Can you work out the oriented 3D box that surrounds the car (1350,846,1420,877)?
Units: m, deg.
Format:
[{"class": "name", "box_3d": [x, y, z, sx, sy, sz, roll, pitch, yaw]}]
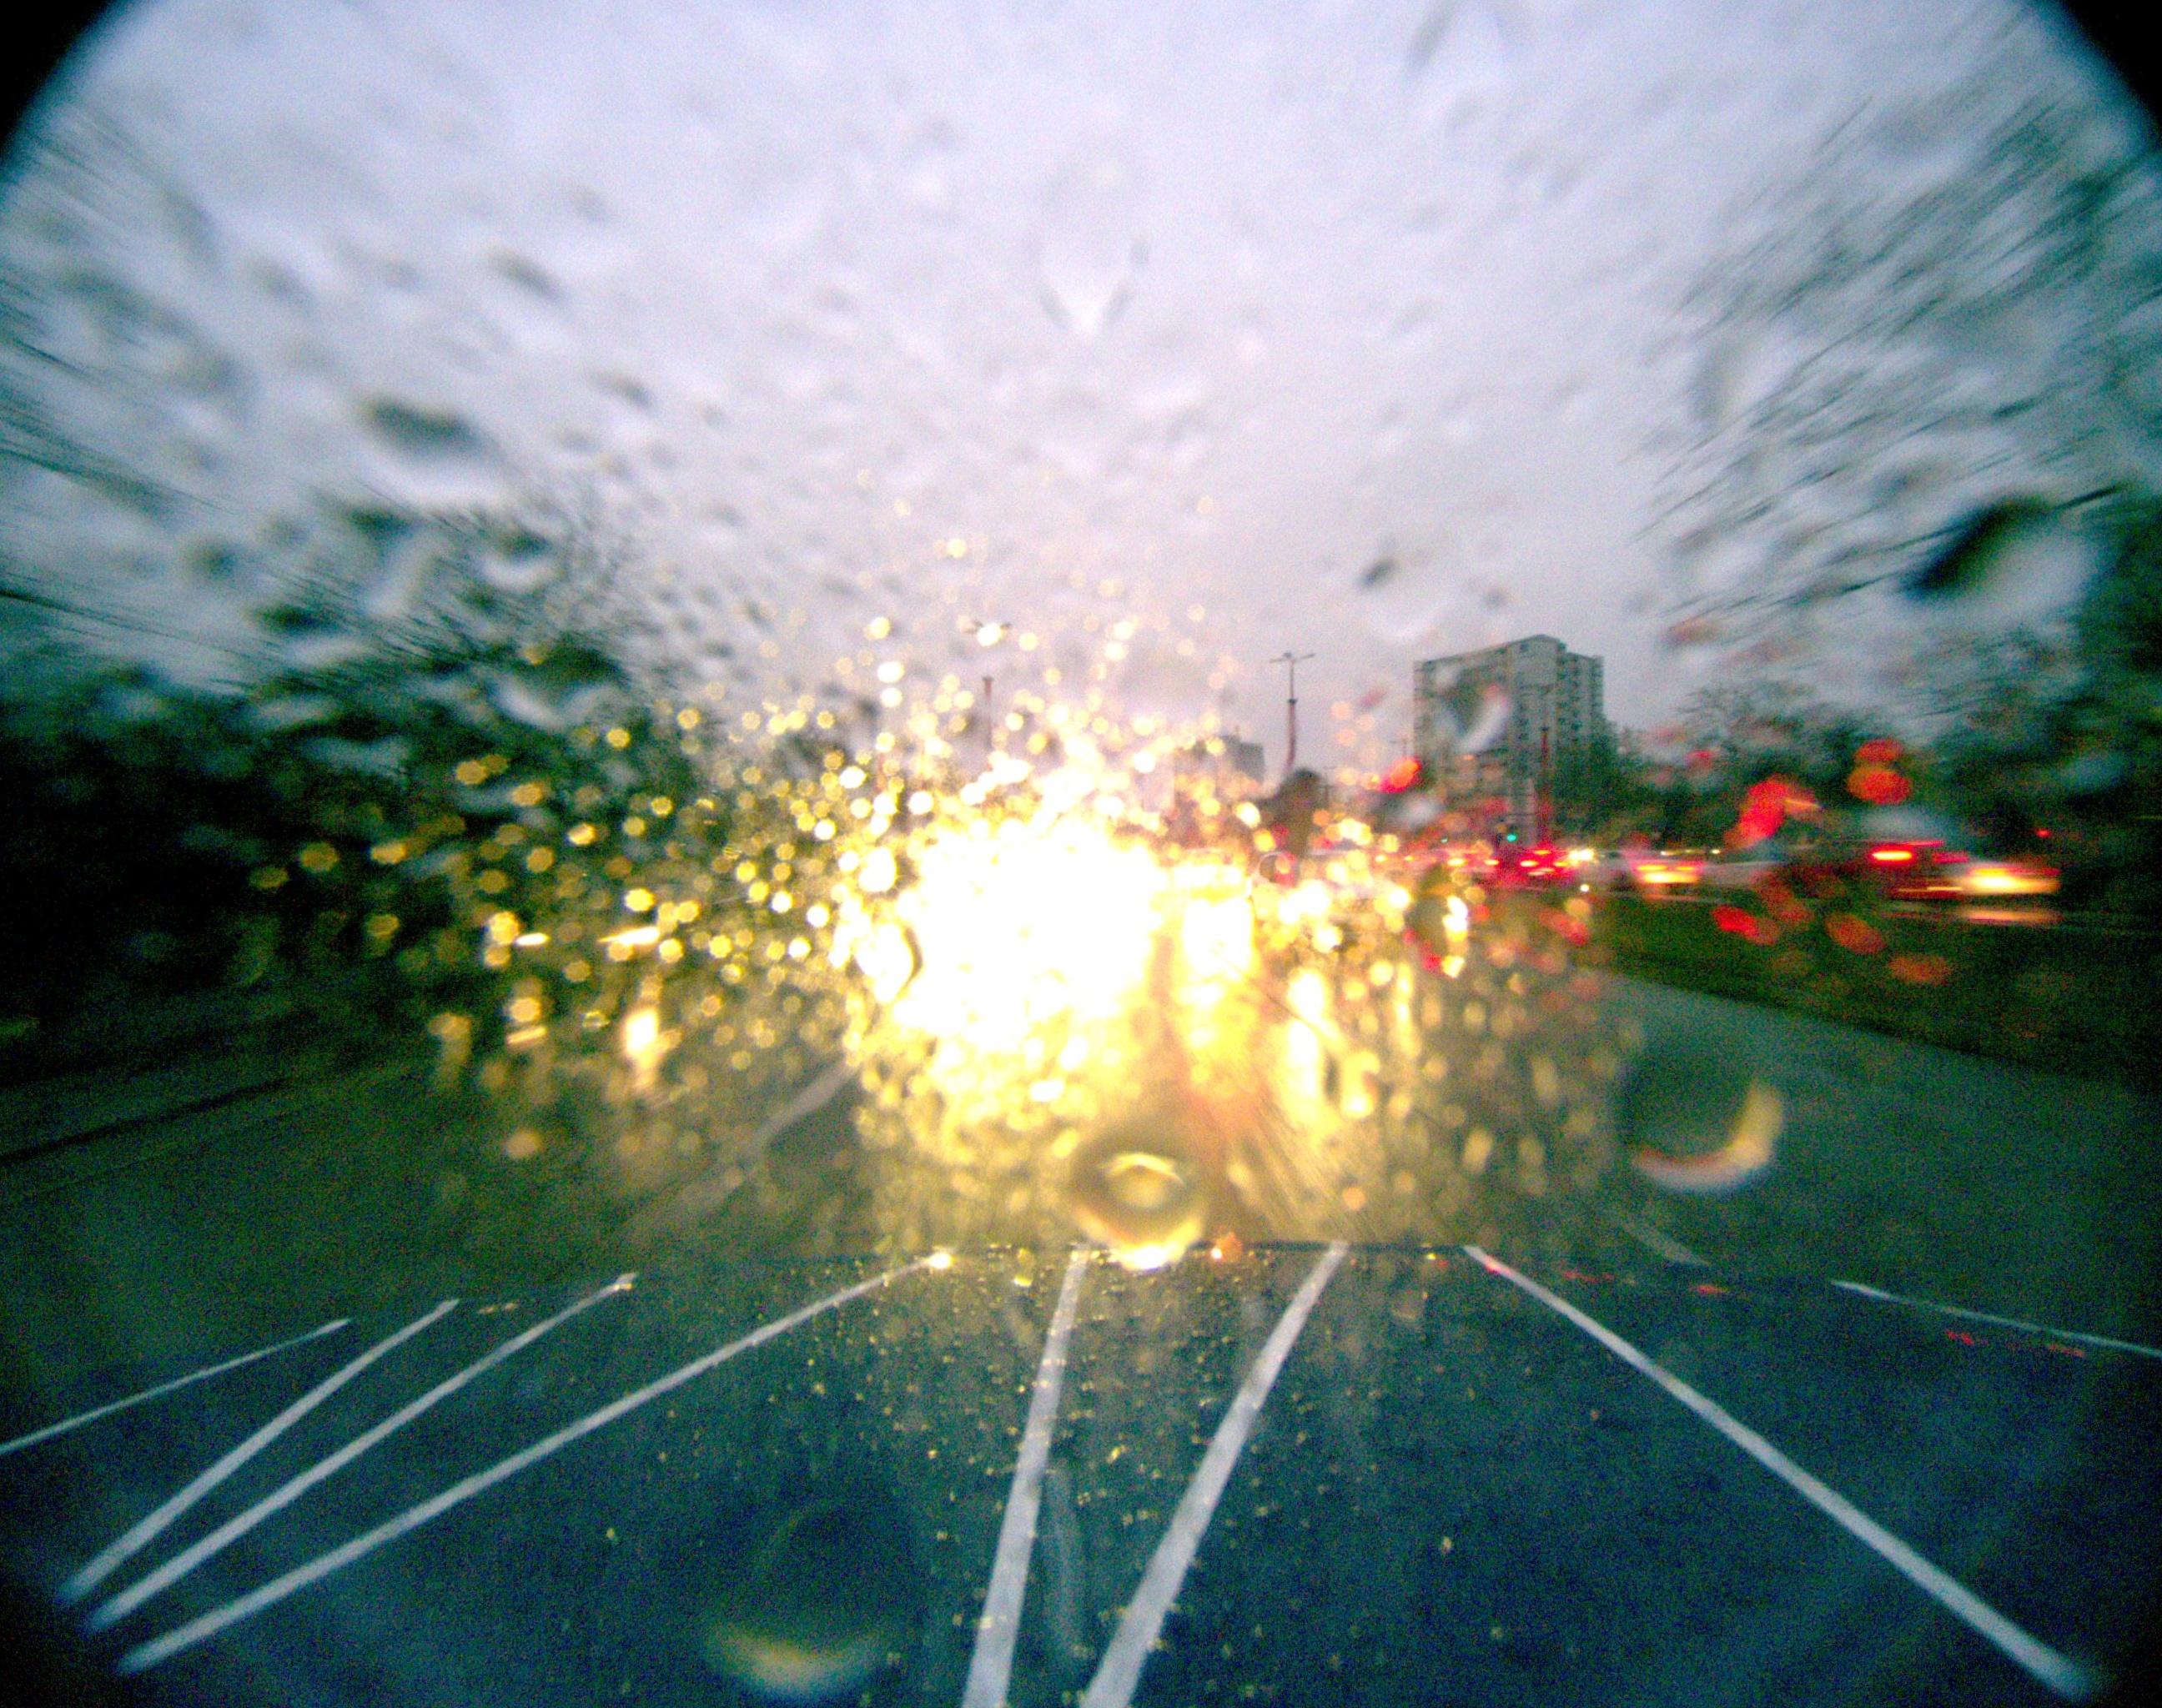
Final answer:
[{"class": "car", "box_3d": [15.958, 0.366, 40.109, 1.862, 1.572, 4.078, -1, 0, -3]}]

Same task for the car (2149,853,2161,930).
[{"class": "car", "box_3d": [21.653, 0.718, 12.439, 1.774, 1.481, 4.649, -1, 0, 0]}]

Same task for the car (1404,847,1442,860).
[{"class": "car", "box_3d": [41.523, -0.057, 92.289, 4.447, 1.536, 1.847, -1, 1, -26]}]

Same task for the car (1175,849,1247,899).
[{"class": "car", "box_3d": [4.452, 0.631, 26.508, 1.694, 1.530, 4.189, -2, 1, -1]}]

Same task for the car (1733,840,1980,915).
[{"class": "car", "box_3d": [18.218, 0.493, 18.166, 1.774, 1.577, 4.032, -1, 0, 0]}]

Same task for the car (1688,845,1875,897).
[{"class": "car", "box_3d": [21.740, 0.475, 23.887, 1.774, 1.486, 4.439, -1, 0, 0]}]

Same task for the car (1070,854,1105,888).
[{"class": "car", "box_3d": [0.283, 0.831, 39.082, 1.679, 1.590, 4.044, -1, 1, -1]}]

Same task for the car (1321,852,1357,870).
[{"class": "car", "box_3d": [22.688, 0.589, 66.871, 1.774, 1.544, 3.946, -1, 0, -1]}]

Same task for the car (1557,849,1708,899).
[{"class": "car", "box_3d": [18.243, 0.601, 25.440, 1.774, 1.524, 4.524, -1, 0, 0]}]

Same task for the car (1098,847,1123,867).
[{"class": "car", "box_3d": [2.535, 0.220, 66.001, 1.953, 1.590, 4.123, -1, 1, -1]}]

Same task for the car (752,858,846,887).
[{"class": "car", "box_3d": [-13.166, 0.842, 35.497, 3.991, 1.302, 1.639, 0, 1, 20]}]

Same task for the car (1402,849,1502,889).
[{"class": "car", "box_3d": [15.272, 0.573, 31.613, 1.774, 1.528, 4.840, -1, 0, 0]}]

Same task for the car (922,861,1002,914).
[{"class": "car", "box_3d": [-3.799, 0.959, 23.621, 1.884, 1.368, 4.748, -1, 1, -16]}]

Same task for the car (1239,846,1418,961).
[{"class": "car", "box_3d": [3.984, 0.690, 12.988, 1.718, 1.638, 4.146, -1, 1, 0]}]

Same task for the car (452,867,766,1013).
[{"class": "car", "box_3d": [-6.521, 1.059, 11.271, 1.972, 1.610, 4.546, 0, 1, -3]}]

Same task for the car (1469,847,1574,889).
[{"class": "car", "box_3d": [18.207, 0.537, 31.678, 1.861, 1.589, 4.286, -1, 0, 0]}]

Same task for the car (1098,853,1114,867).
[{"class": "car", "box_3d": [3.293, 0.751, 100.871, 1.998, 1.605, 3.999, -2, 1, 1]}]

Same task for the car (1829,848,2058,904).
[{"class": "car", "box_3d": [25.318, 0.567, 22.598, 1.774, 1.486, 4.439, -1, 0, 0]}]

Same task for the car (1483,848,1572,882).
[{"class": "car", "box_3d": [21.464, 0.491, 36.730, 1.998, 1.526, 3.999, -1, 1, 0]}]

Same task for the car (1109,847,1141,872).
[{"class": "car", "box_3d": [2.982, 0.354, 52.196, 1.953, 1.590, 4.123, -1, 1, -1]}]
